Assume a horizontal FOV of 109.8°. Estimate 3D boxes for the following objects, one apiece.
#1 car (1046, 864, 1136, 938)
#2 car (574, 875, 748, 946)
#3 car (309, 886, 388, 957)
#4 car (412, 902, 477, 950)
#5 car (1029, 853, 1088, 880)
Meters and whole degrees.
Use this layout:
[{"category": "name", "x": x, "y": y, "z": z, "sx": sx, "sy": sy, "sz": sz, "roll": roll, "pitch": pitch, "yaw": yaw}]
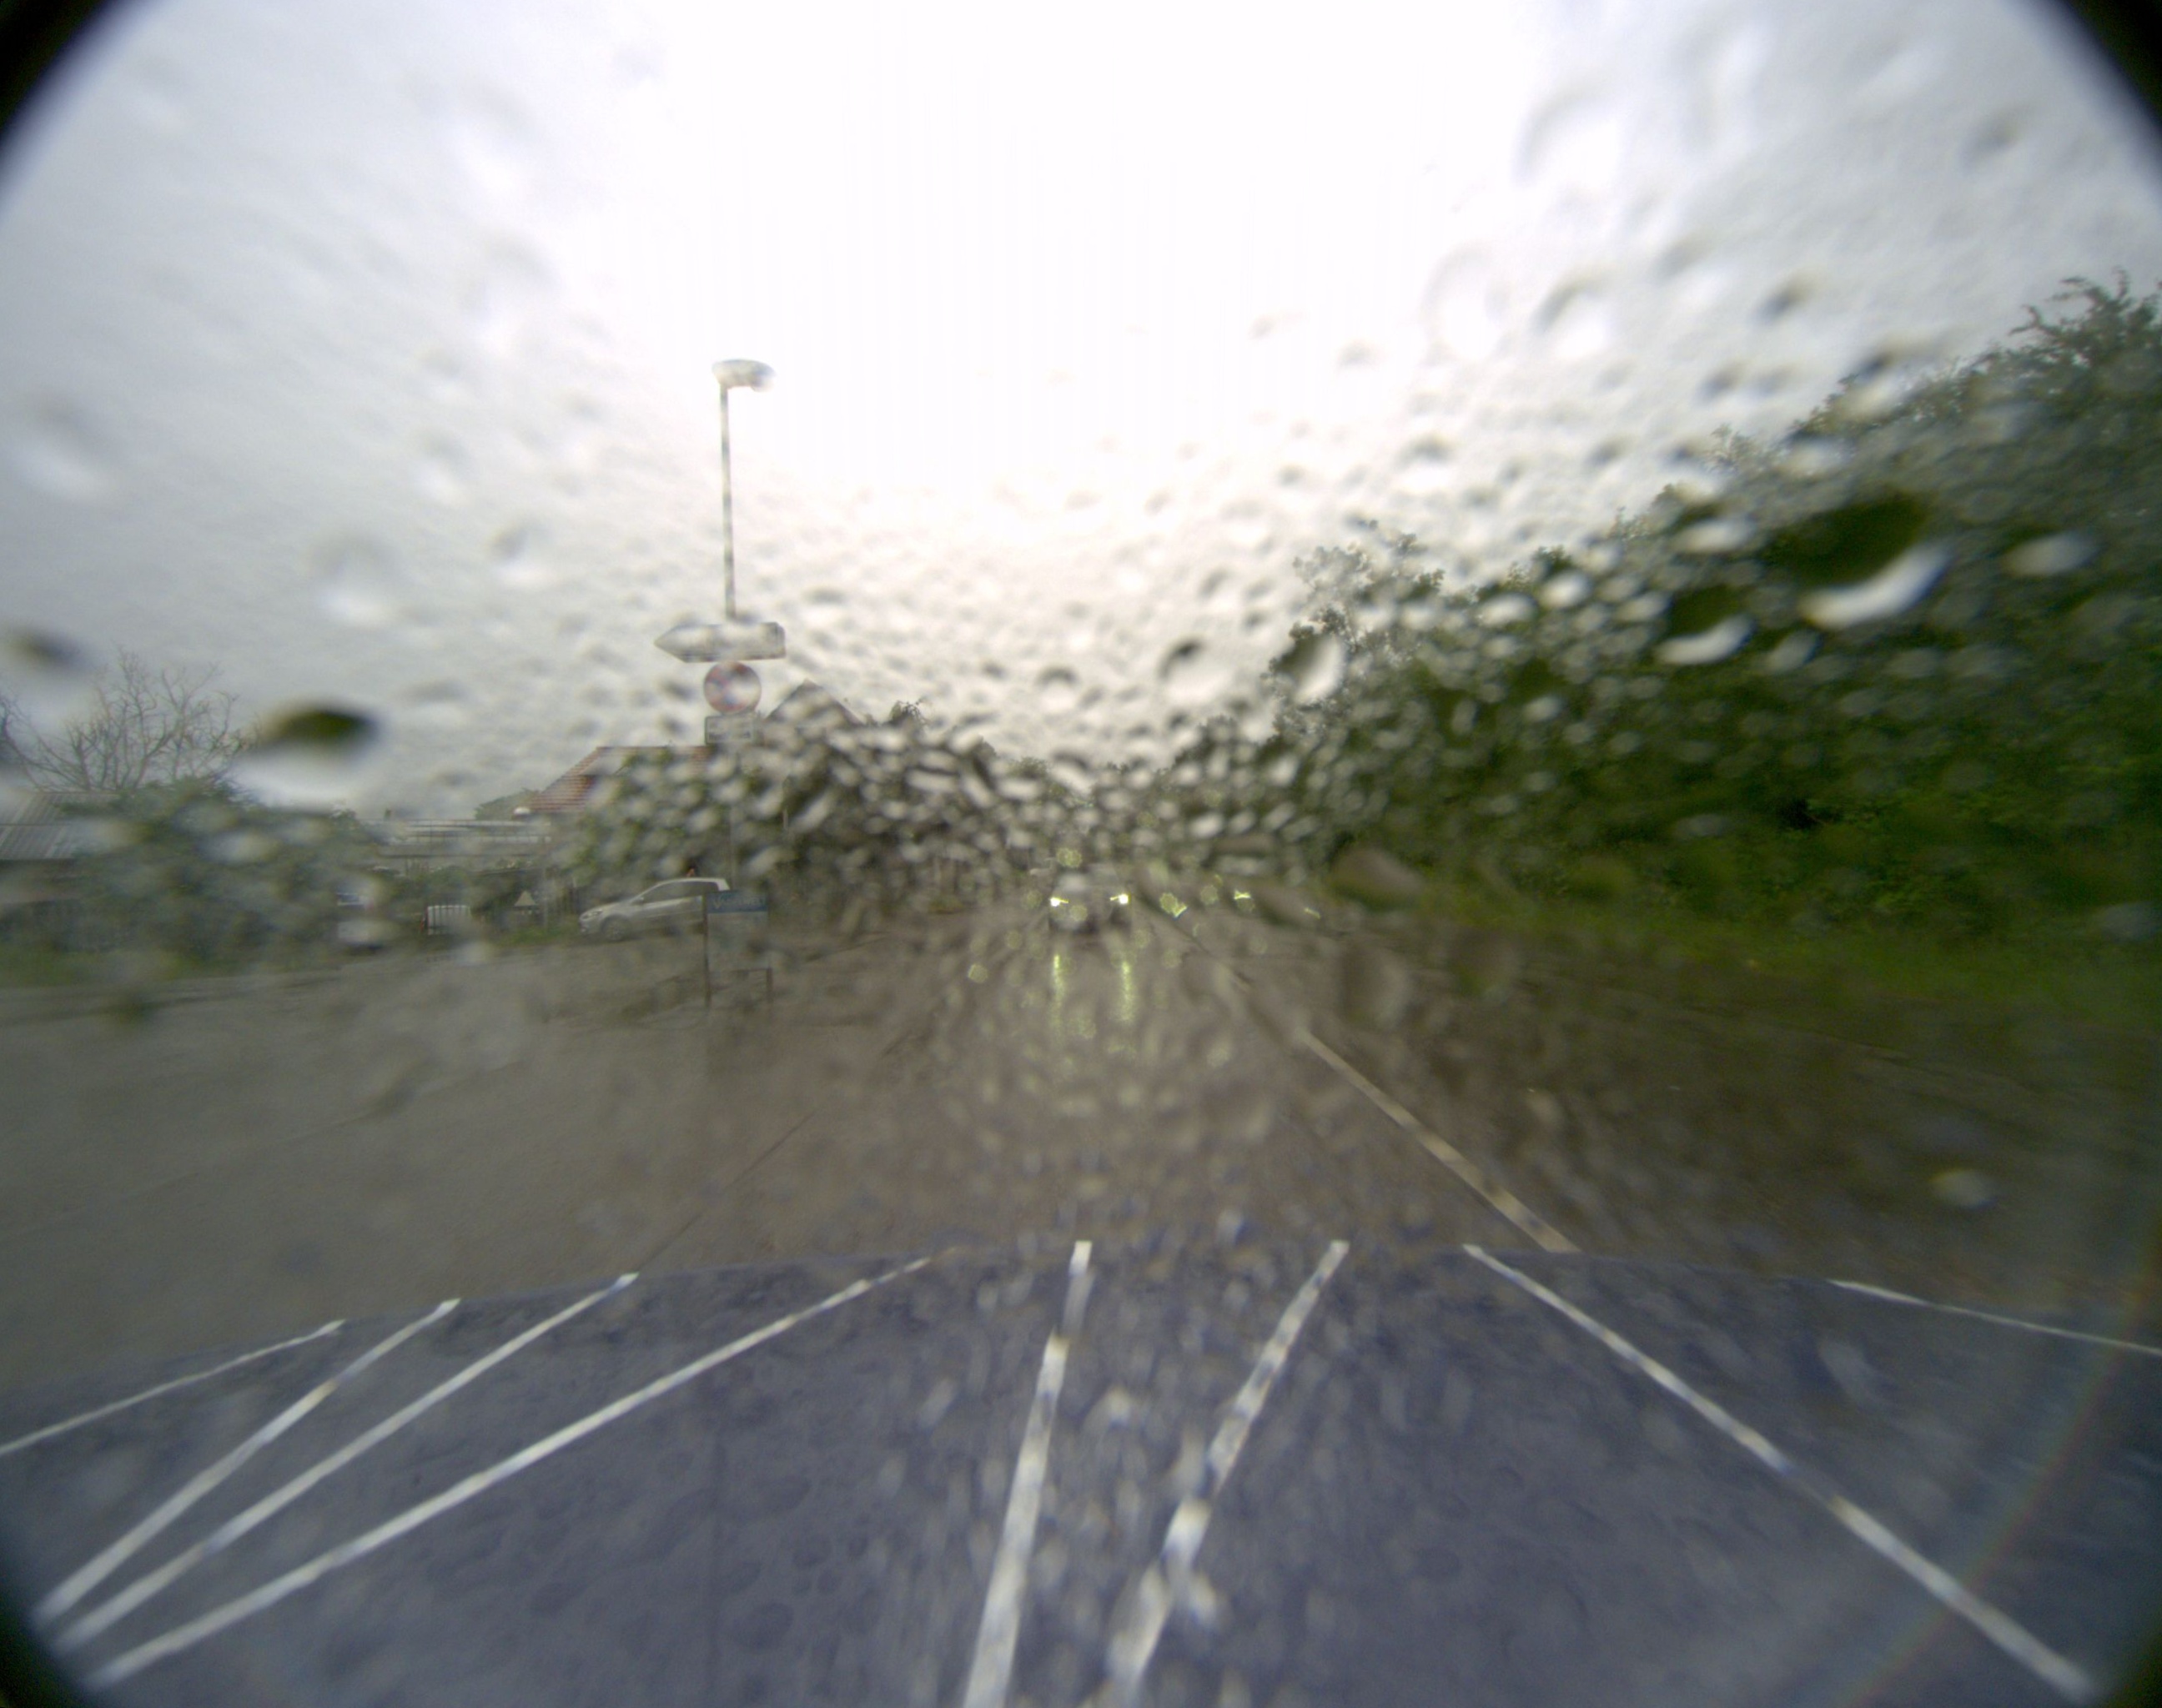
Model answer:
[{"category": "car", "x": 0.233, "y": 0.976, "z": 17.604, "sx": 1.767, "sy": 1.316, "sz": 4.549, "roll": -3, "pitch": 0, "yaw": 1}, {"category": "car", "x": -11.161, "y": 1.429, "z": 20.319, "sx": 3.862, "sy": 1.523, "sz": 1.715, "roll": -3, "pitch": 1, "yaw": -32}, {"category": "car", "x": -29.009, "y": 2.583, "z": 30.209, "sx": 2.004, "sy": 2.497, "sz": 3.989, "roll": -1, "pitch": -1, "yaw": -41}, {"category": "car", "x": -26.833, "y": 2.972, "z": 32.077, "sx": 1.937, "sy": 1.674, "sz": 3.989, "roll": -3, "pitch": 1, "yaw": -40}, {"category": "car", "x": -1.666, "y": 0.938, "z": 57.110, "sx": 3.945, "sy": 1.853, "sz": 1.840, "roll": -3, "pitch": 1, "yaw": 25}]
